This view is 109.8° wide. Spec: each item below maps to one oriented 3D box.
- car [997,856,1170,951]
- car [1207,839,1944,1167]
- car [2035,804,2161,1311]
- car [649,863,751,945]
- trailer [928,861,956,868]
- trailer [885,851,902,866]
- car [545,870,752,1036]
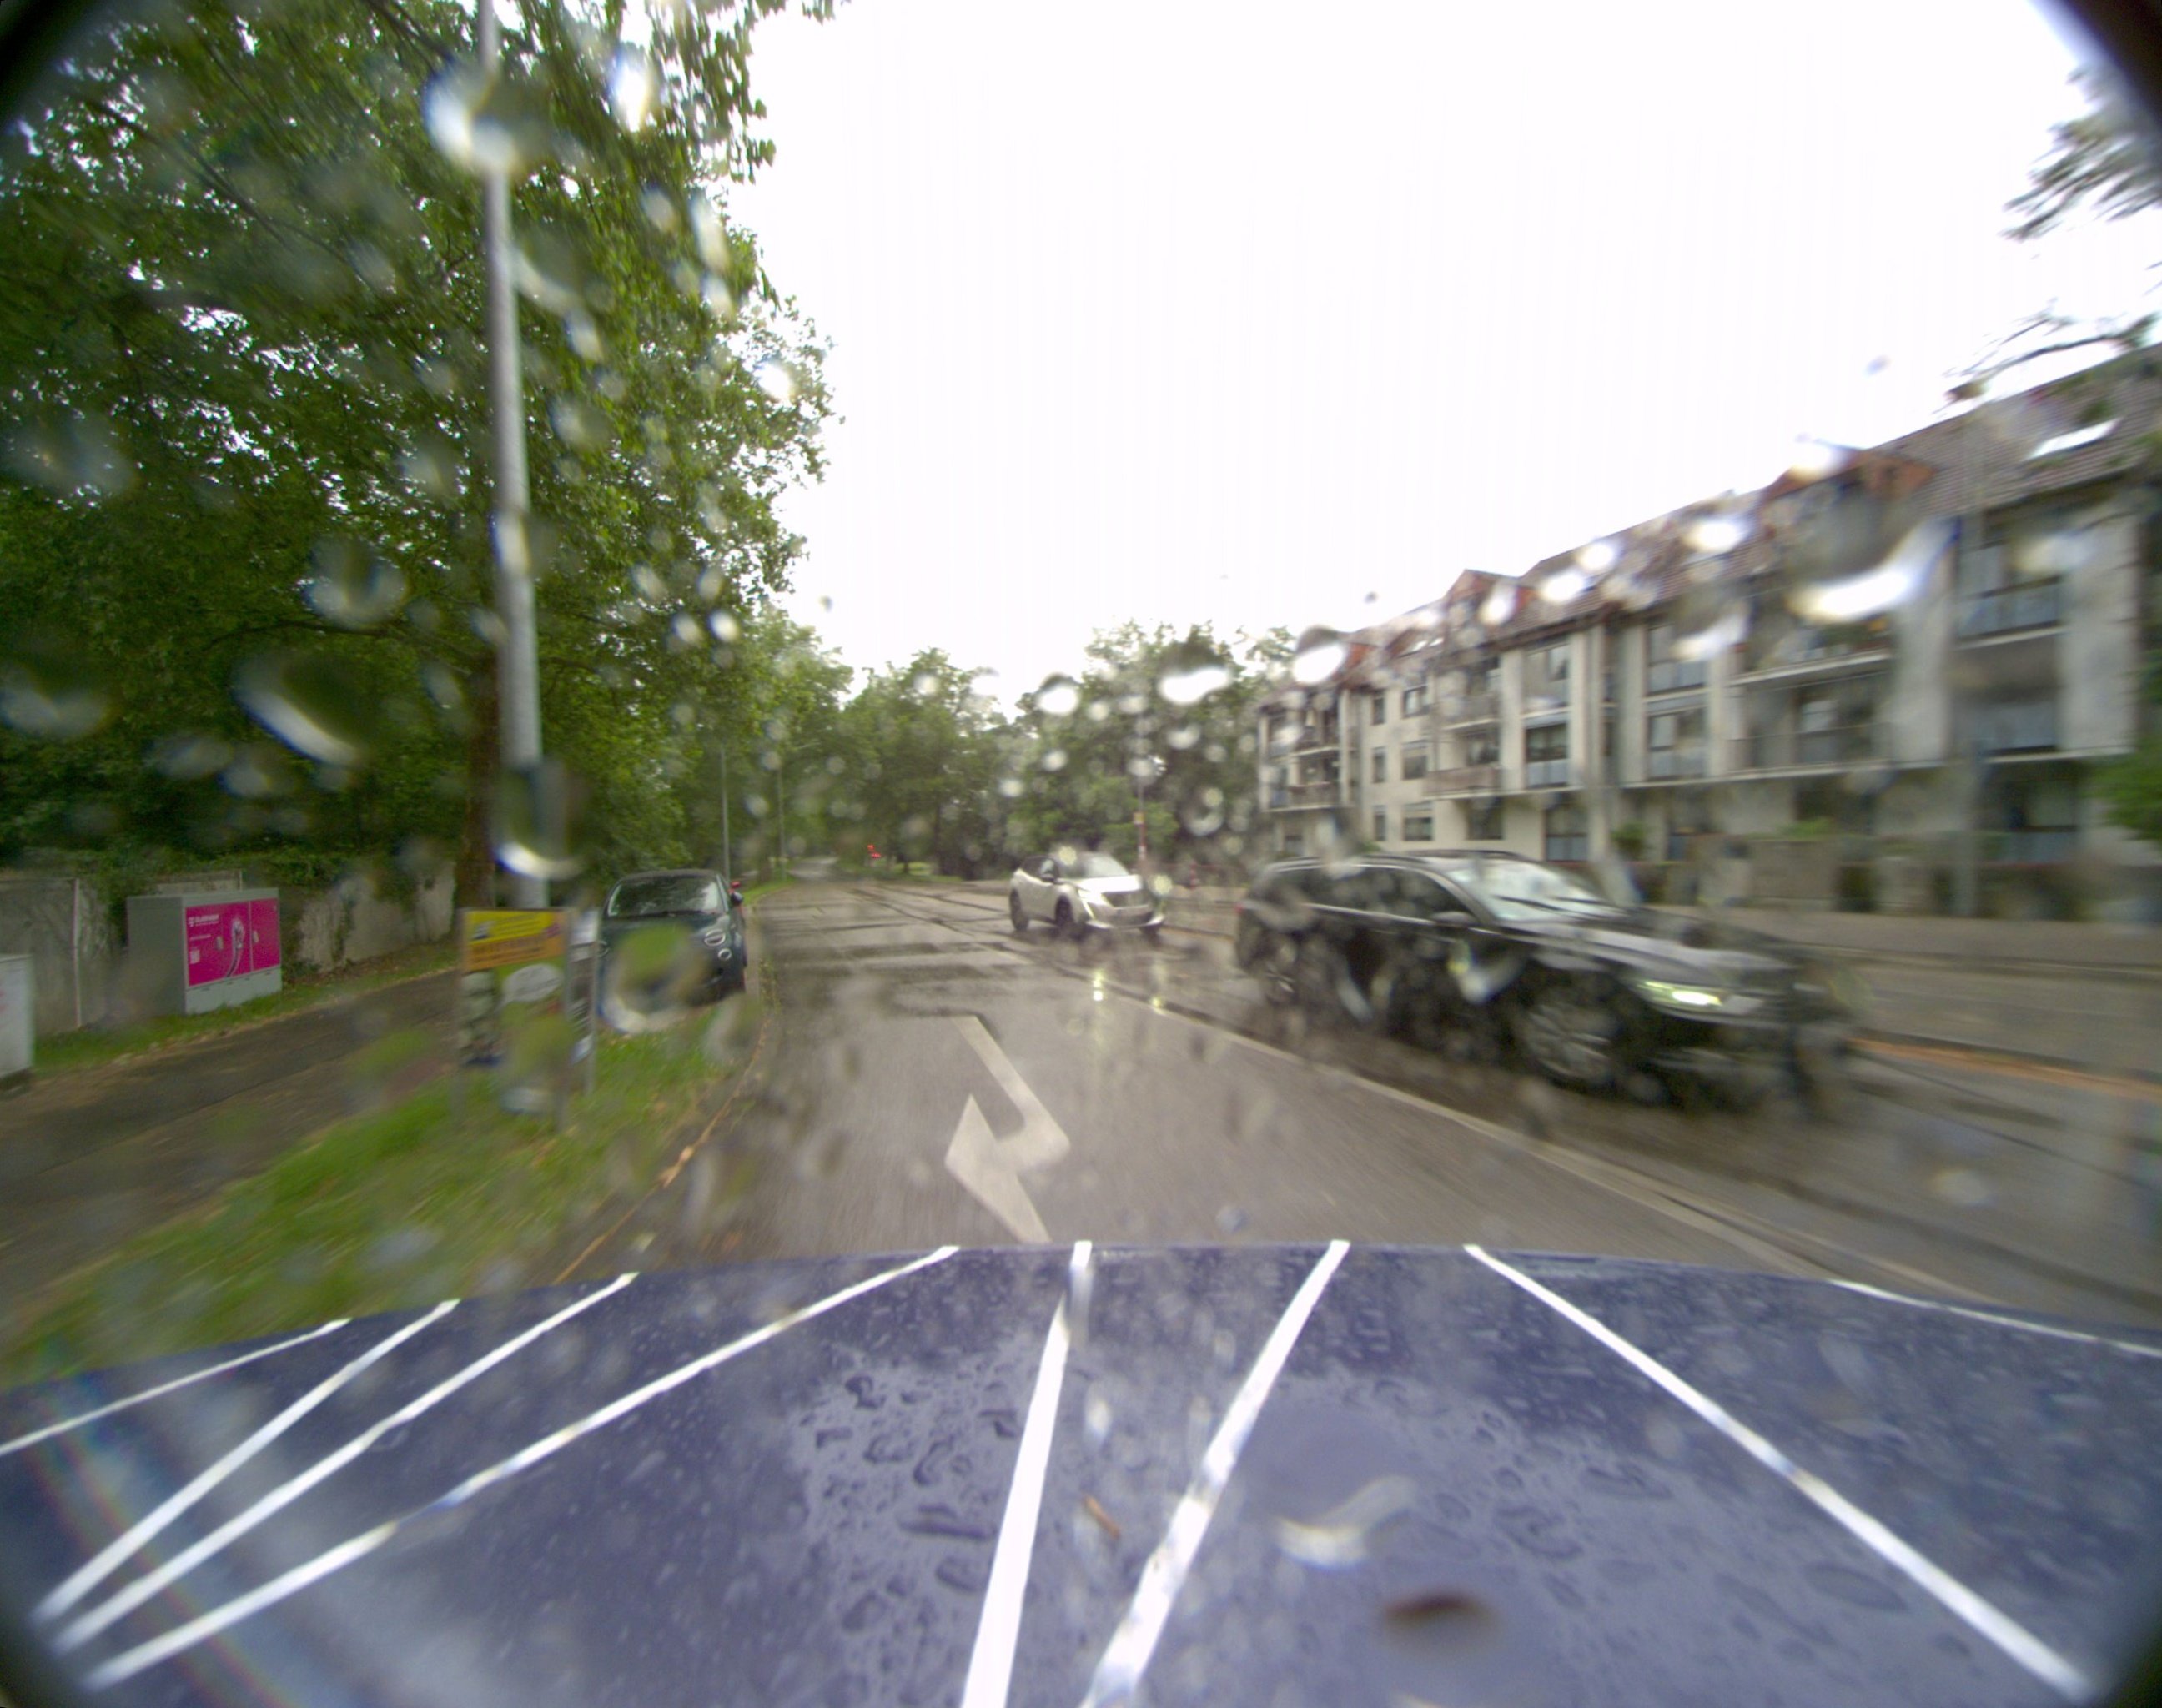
[{"bbox_3d":[-0.138,0.812,14.664,1.760,1.527,4.359,-1,0,-23],"label":"car"},{"bbox_3d":[3.123,0.757,6.102,1.839,1.448,4.650,-4,0,-24],"label":"car"},{"bbox_3d":[5.256,0.609,1.044,1.768,1.701,4.592,-3,0,-24],"label":"car"},{"bbox_3d":[-9.233,1.162,18.600,1.826,1.509,3.736,-9,2,-25],"label":"car"},{"bbox_3d":[-23.560,1.704,128.593,4.335,1.026,2.377,-1,1,-20],"label":"trailer"},{"bbox_3d":[-35.405,0.849,143.330,2.809,2.648,6.641,0,1,-18],"label":"trailer"},{"bbox_3d":[-5.230,1.044,9.671,1.756,1.483,3.593,-5,2,-23],"label":"car"}]
